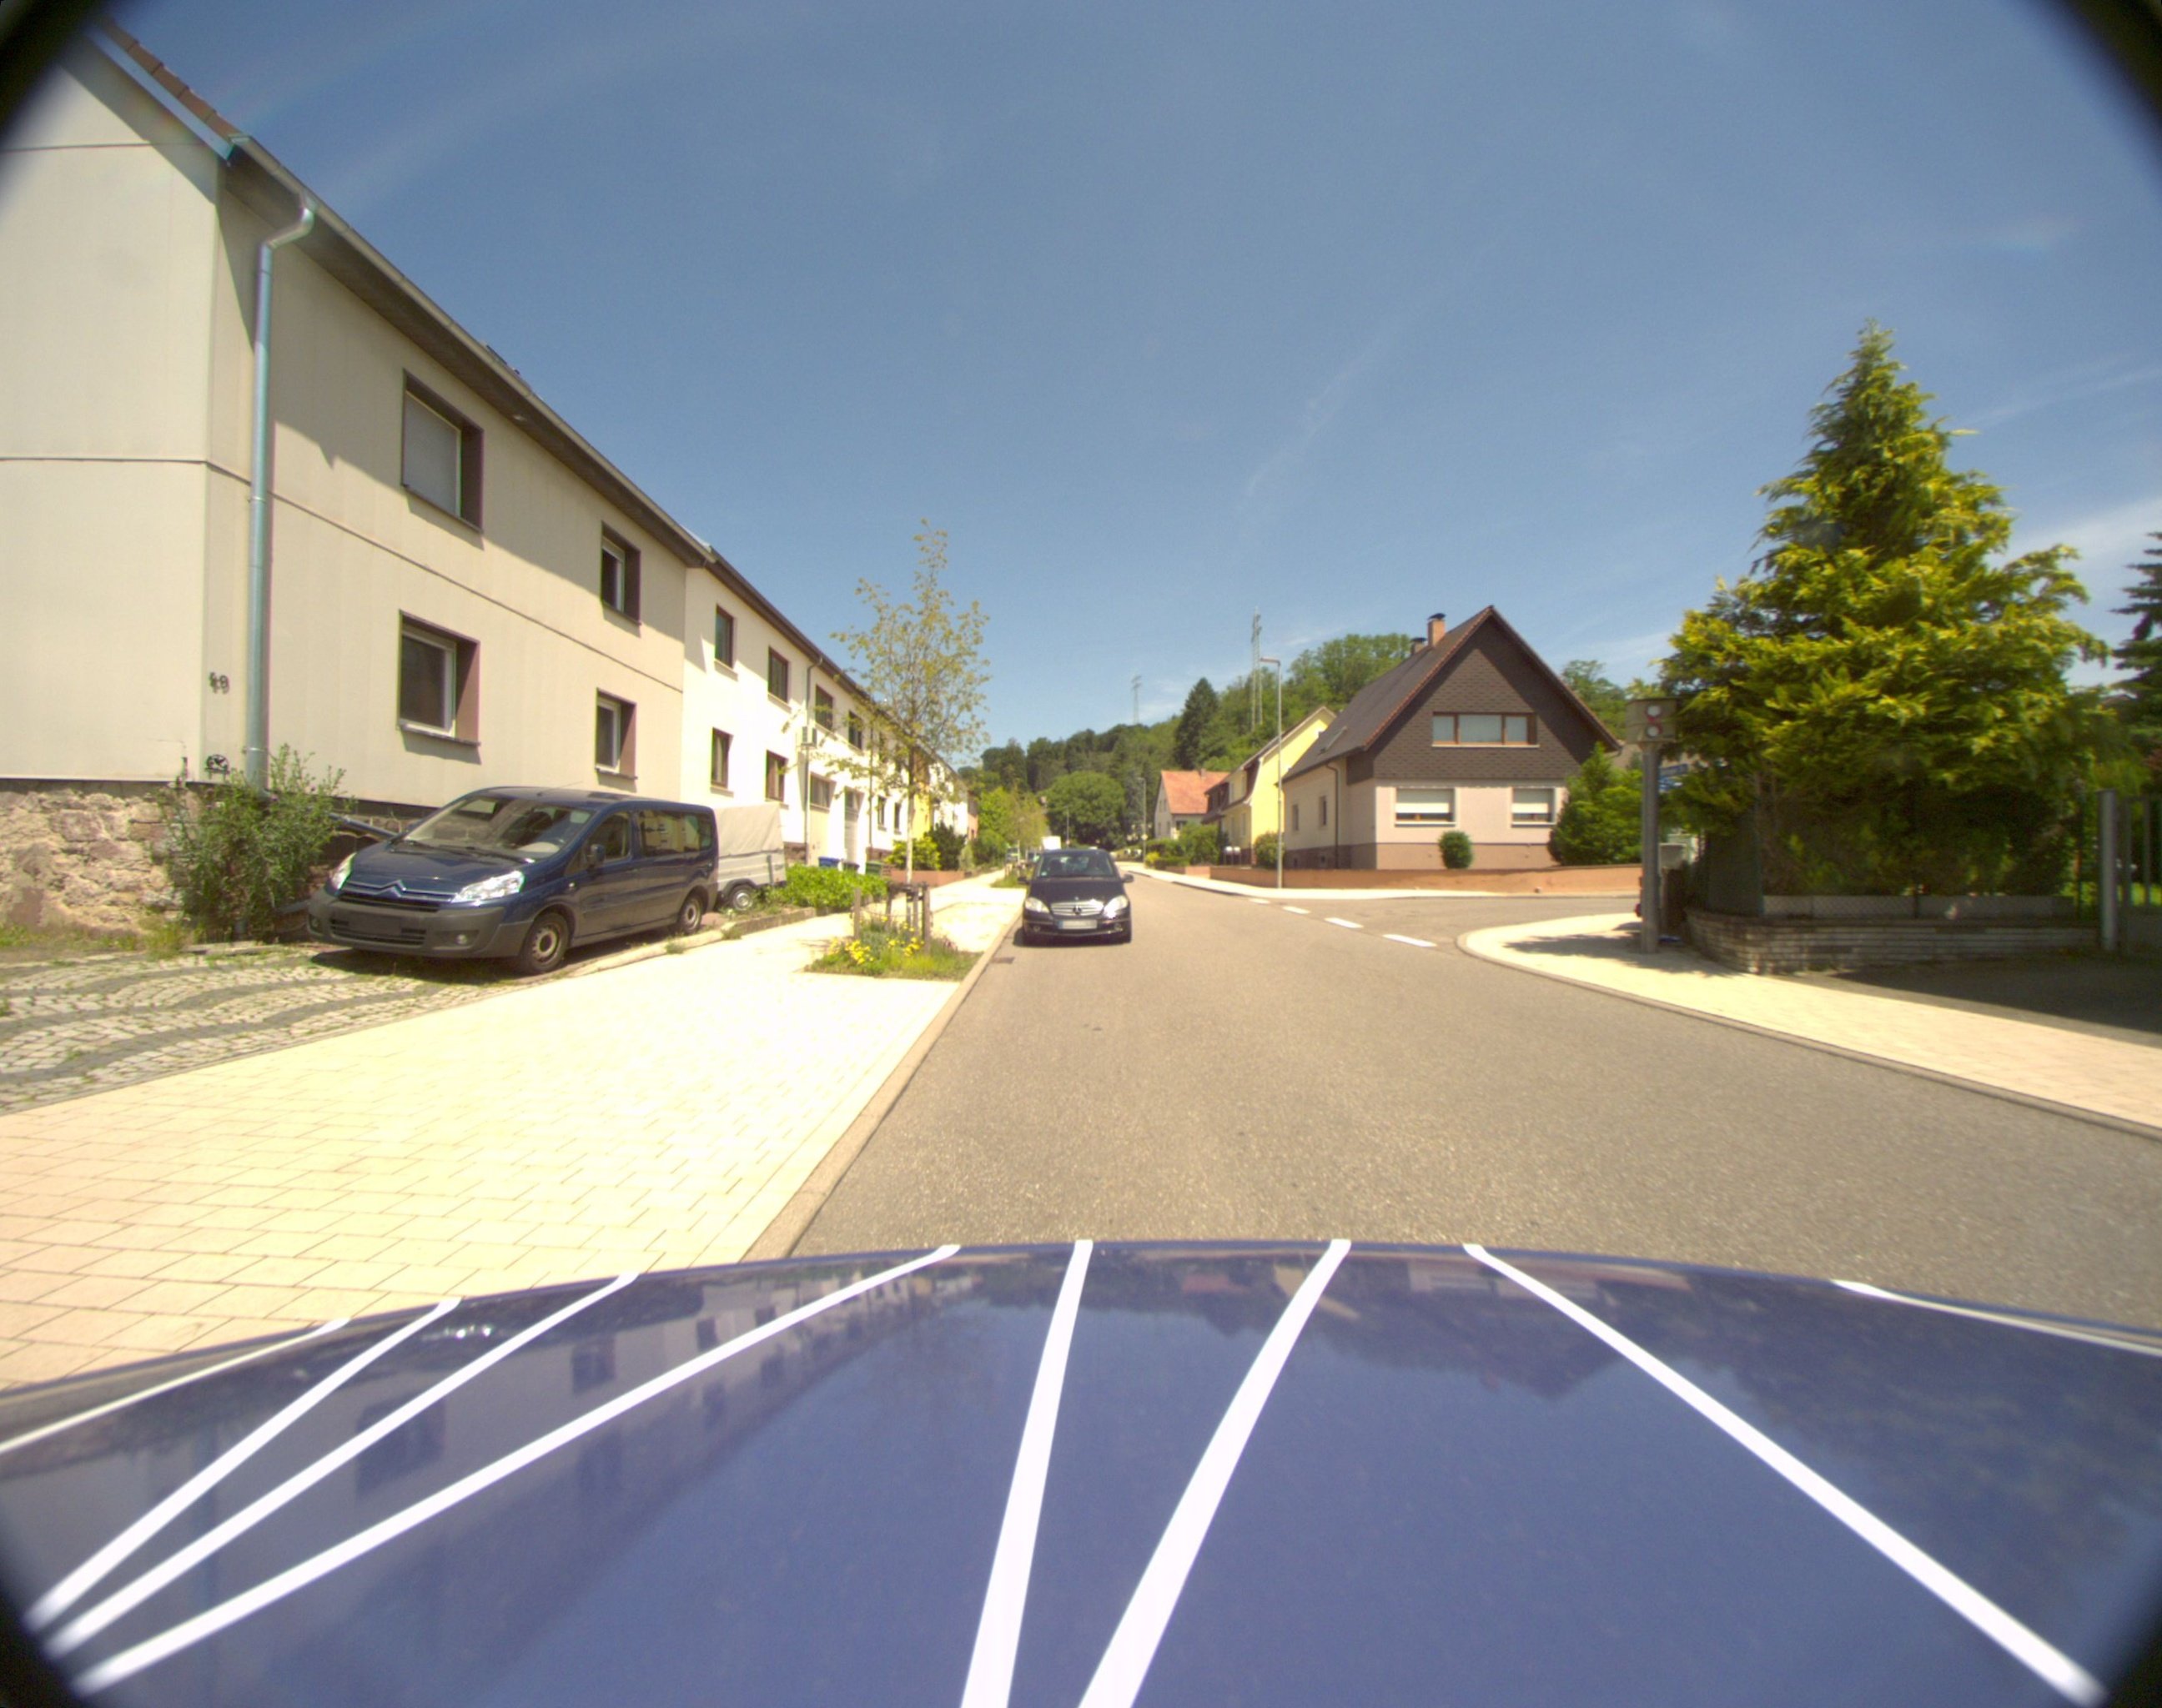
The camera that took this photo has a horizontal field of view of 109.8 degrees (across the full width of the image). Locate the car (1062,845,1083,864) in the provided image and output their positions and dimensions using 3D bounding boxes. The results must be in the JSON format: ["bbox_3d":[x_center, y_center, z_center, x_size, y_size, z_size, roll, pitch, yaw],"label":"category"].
[{"bbox_3d":[-0.884,0.026,74.082,1.968,1.823,4.464,1,0,-1],"label":"car"}]

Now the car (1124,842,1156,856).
[{"bbox_3d":[8.341,-0.688,107.632,4.004,1.779,1.807,-2,1,-24],"label":"car"}]

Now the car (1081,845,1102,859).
[{"bbox_3d":[1.549,-0.333,110.150,1.706,1.938,3.993,-2,1,-19],"label":"car"}]

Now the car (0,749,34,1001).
[{"bbox_3d":[-9.472,-0.032,4.429,3.997,1.755,1.891,6,1,0],"label":"car"}]

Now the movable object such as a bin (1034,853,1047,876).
[{"bbox_3d":[-2.535,0.636,47.522,0.794,1.387,0.925,-1,1,-4],"label":"movable object such as a bin"}]

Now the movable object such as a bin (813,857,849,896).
[{"bbox_3d":[-7.664,0.681,23.315,0.686,1.100,0.863,3,1,5],"label":"movable object such as a bin"}]

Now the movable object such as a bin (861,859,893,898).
[{"bbox_3d":[-6.286,0.746,23.425,0.685,1.109,0.812,3,1,5],"label":"movable object such as a bin"}]

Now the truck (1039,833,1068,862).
[{"bbox_3d":[-3.456,-0.743,94.712,2.807,3.394,8.114,-1,0,-7],"label":"truck"}]

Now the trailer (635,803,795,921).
[{"bbox_3d":[-6.749,0.118,14.109,1.320,2.002,2.278,0,1,41],"label":"trailer"}]

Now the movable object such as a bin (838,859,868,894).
[{"bbox_3d":[-6.974,0.682,23.286,0.559,0.980,0.803,4,1,6],"label":"movable object such as a bin"}]

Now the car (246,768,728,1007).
[{"bbox_3d":[-6.243,0.273,8.953,1.857,1.959,4.772,4,1,0],"label":"car"}]

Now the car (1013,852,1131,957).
[{"bbox_3d":[-0.111,0.779,13.780,1.790,1.595,4.075,-1,0,1],"label":"car"}]

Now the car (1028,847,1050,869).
[{"bbox_3d":[-3.831,0.336,68.343,1.860,1.832,4.668,1,1,-4],"label":"car"}]

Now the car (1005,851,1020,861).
[{"bbox_3d":[-9.205,0.251,102.054,1.676,1.368,3.996,1,0,-9],"label":"car"}]
